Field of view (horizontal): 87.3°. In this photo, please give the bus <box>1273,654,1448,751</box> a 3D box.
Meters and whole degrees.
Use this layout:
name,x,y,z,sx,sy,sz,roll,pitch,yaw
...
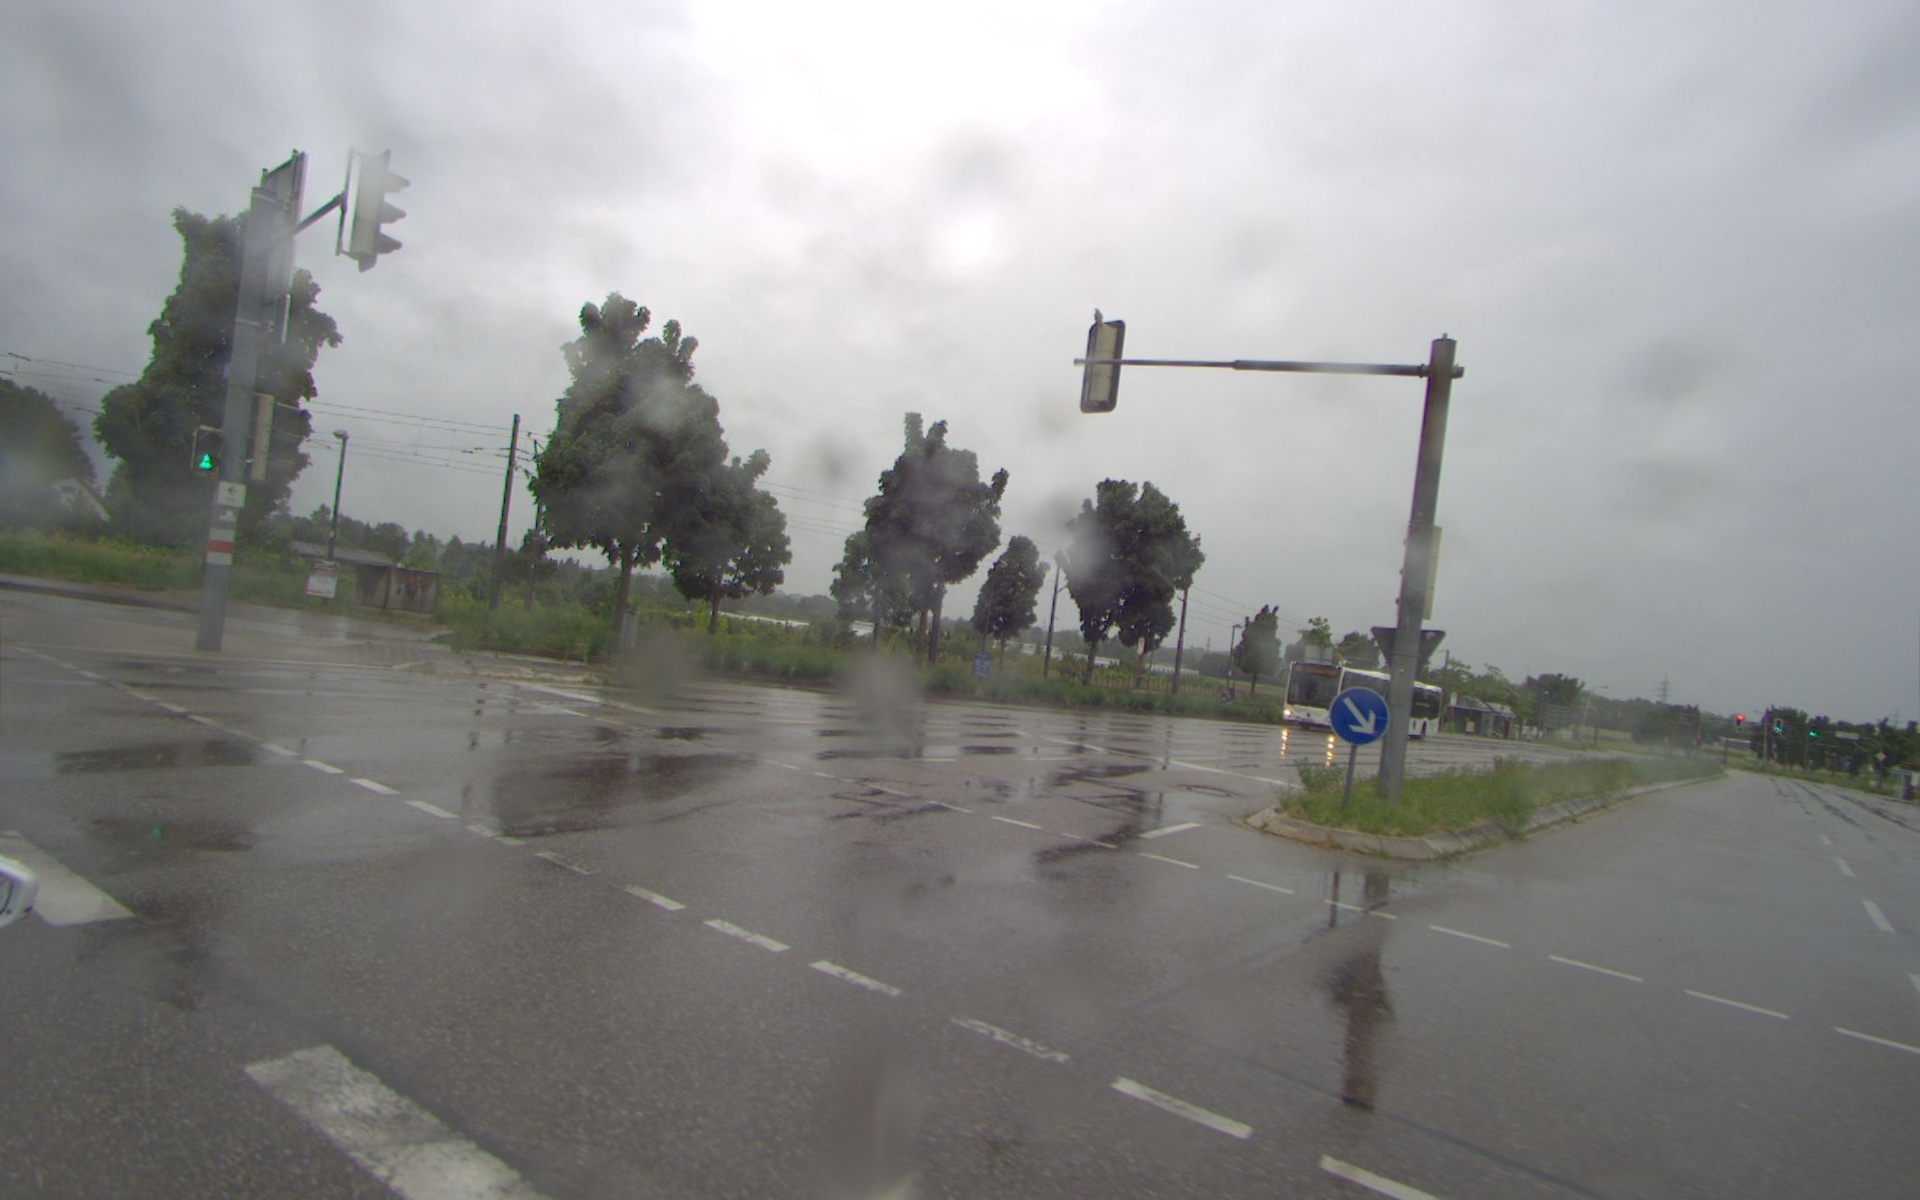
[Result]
name,x,y,z,sx,sy,sz,roll,pitch,yaw
bus,20.809,5.405,50.902,2.716,3.827,18.379,7,-2,39
